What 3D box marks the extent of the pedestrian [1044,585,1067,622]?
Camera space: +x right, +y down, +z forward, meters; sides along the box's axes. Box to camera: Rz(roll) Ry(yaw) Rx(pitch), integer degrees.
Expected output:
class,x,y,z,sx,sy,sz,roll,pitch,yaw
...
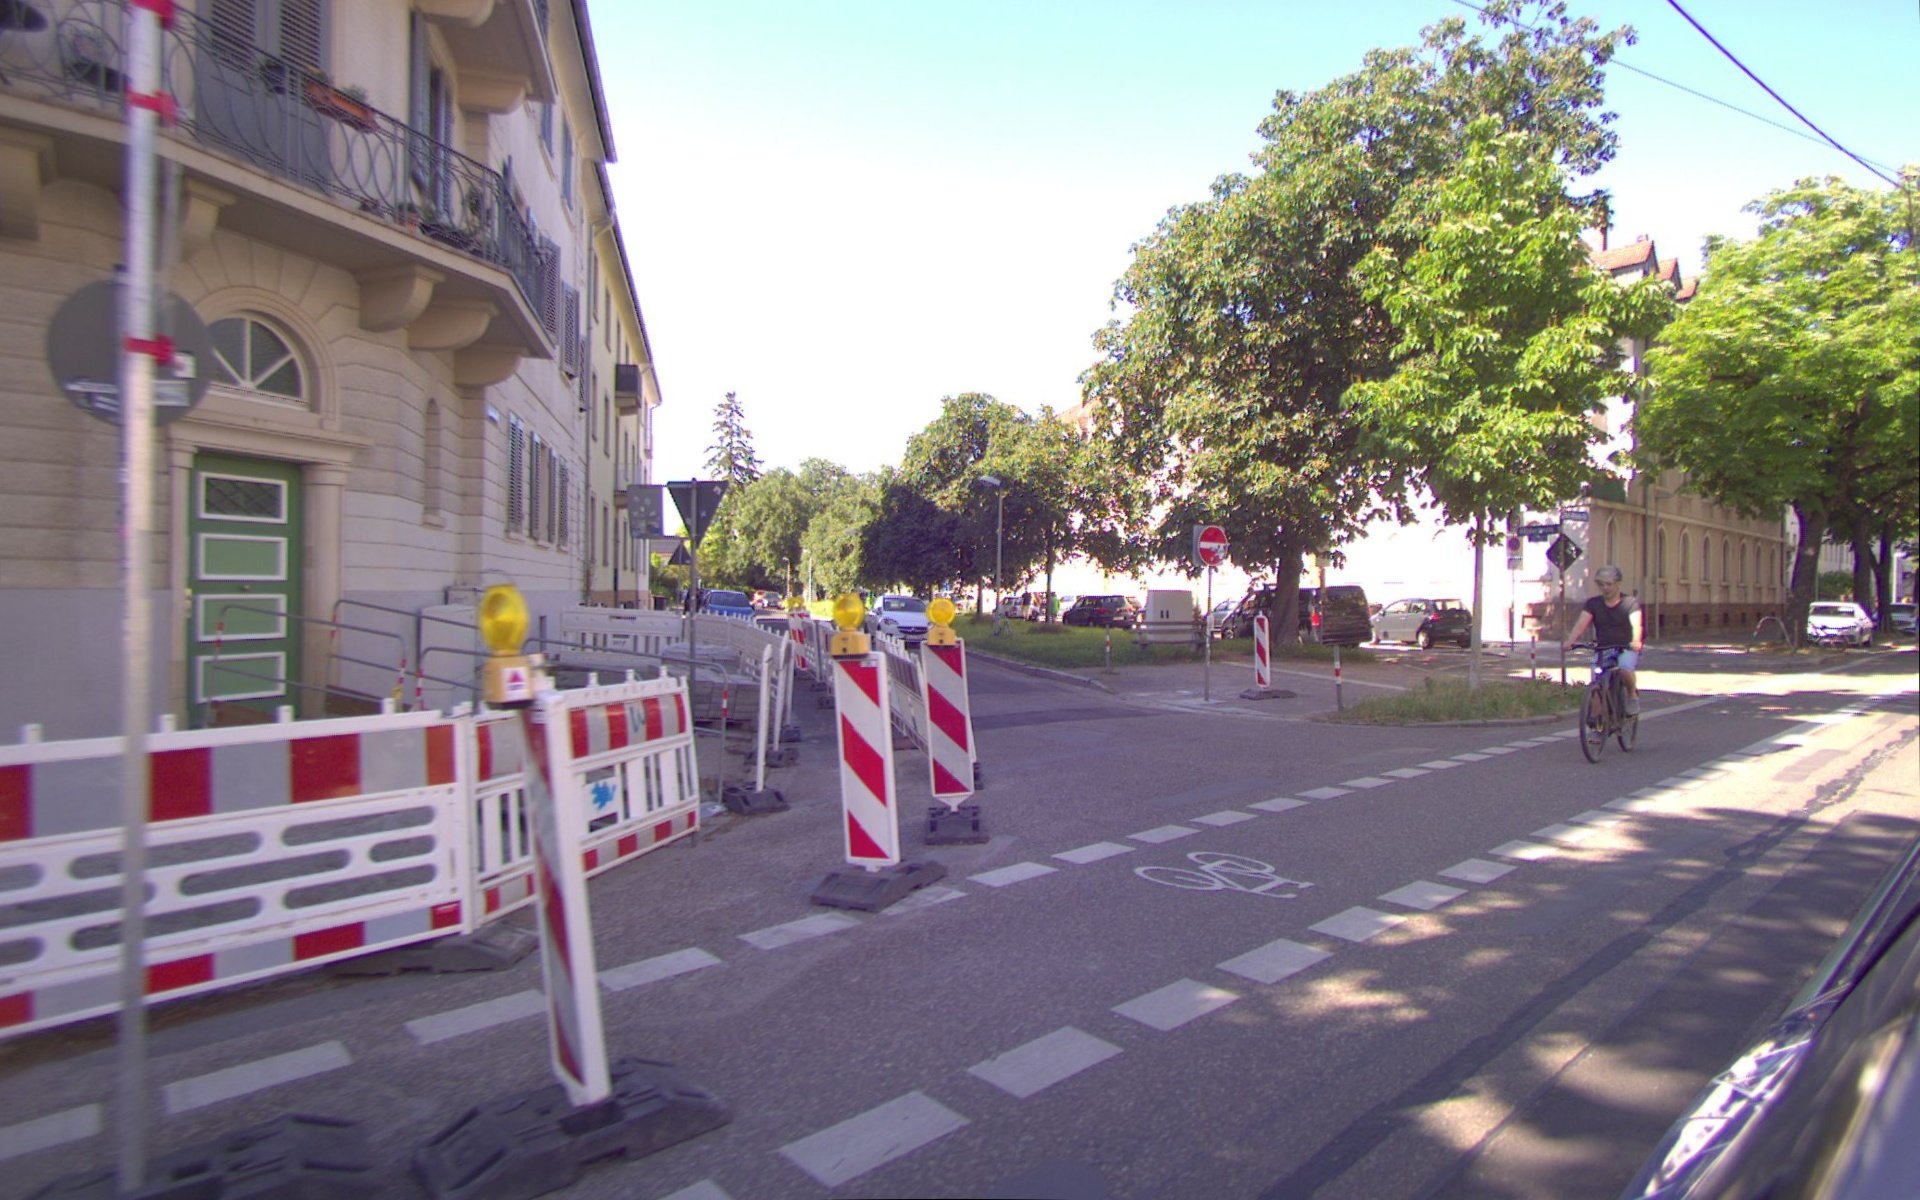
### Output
class,x,y,z,sx,sy,sz,roll,pitch,yaw
pedestrian,4.180,0.152,44.278,0.826,1.588,0.575,0,0,-17

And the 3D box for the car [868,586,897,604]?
class,x,y,z,sx,sy,sz,roll,pitch,yaw
car,-7.673,-0.480,99.532,1.958,1.650,5.077,-2,1,-15

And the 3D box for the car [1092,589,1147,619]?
class,x,y,z,sx,sy,sz,roll,pitch,yaw
car,8.471,0.175,54.043,1.605,1.519,3.777,-1,1,-13

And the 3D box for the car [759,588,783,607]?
class,x,y,z,sx,sy,sz,roll,pitch,yaw
car,-16.680,-0.212,89.190,1.749,1.505,3.981,3,0,-15

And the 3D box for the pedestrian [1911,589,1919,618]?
class,x,y,z,sx,sy,sz,roll,pitch,yaw
pedestrian,67.871,0.252,71.665,0.740,2.039,0.678,1,0,41

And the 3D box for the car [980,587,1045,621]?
class,x,y,z,sx,sy,sz,roll,pitch,yaw
car,2.749,0.158,54.271,1.958,1.650,5.077,-2,1,-15

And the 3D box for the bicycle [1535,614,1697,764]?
class,x,y,z,sx,sy,sz,roll,pitch,yaw
bicycle,6.284,0.775,9.650,2.059,1.258,0.762,0,-1,-41

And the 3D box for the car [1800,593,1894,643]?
class,x,y,z,sx,sy,sz,roll,pitch,yaw
car,28.897,0.537,32.932,4.140,1.490,1.704,0,2,-41

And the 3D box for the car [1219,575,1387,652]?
class,x,y,z,sx,sy,sz,roll,pitch,yaw
car,9.481,0.298,28.511,1.958,1.914,5.077,-2,1,-15

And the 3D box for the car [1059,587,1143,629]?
class,x,y,z,sx,sy,sz,roll,pitch,yaw
car,5.929,0.288,43.119,1.895,1.629,4.630,-2,1,-15

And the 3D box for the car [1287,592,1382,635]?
class,x,y,z,sx,sy,sz,roll,pitch,yaw
car,13.197,0.446,35.850,1.539,1.415,3.366,-1,1,-13

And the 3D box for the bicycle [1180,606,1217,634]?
class,x,y,z,sx,sy,sz,roll,pitch,yaw
bicycle,6.859,0.572,29.111,0.410,0.768,1.386,0,1,-16

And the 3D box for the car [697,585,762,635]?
class,x,y,z,sx,sy,sz,roll,pitch,yaw
car,-8.037,0.302,35.049,1.805,1.566,3.879,3,0,-17

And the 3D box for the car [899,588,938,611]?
class,x,y,z,sx,sy,sz,roll,pitch,yaw
car,-3.309,-0.090,78.877,1.958,1.650,5.077,-2,1,-15

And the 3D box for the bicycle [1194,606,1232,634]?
class,x,y,z,sx,sy,sz,roll,pitch,yaw
bicycle,7.290,0.567,29.187,0.410,0.787,1.386,0,1,-16

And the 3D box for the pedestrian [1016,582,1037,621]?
class,x,y,z,sx,sy,sz,roll,pitch,yaw
pedestrian,3.168,0.069,48.389,0.826,1.865,0.575,0,0,-17

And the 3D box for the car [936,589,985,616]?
class,x,y,z,sx,sy,sz,roll,pitch,yaw
car,-0.030,0.124,66.088,1.958,1.650,5.077,-2,1,-15

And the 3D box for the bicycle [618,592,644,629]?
class,x,y,z,sx,sy,sz,roll,pitch,yaw
bicycle,-11.355,0.316,34.982,0.750,1.171,4.009,0,1,-16

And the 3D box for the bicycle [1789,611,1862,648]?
class,x,y,z,sx,sy,sz,roll,pitch,yaw
bicycle,25.118,0.843,29.398,1.564,0.992,0.631,3,2,41

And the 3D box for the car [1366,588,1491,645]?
class,x,y,z,sx,sy,sz,roll,pitch,yaw
car,14.323,0.458,31.141,1.687,1.557,3.447,-3,1,-13

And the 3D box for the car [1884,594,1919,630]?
class,x,y,z,sx,sy,sz,roll,pitch,yaw
car,42.452,0.515,44.917,4.670,1.502,1.821,0,2,-44

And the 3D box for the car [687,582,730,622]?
class,x,y,z,sx,sy,sz,roll,pitch,yaw
car,-11.669,0.076,46.833,1.749,1.674,3.878,3,0,-15

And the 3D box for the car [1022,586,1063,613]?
class,x,y,z,sx,sy,sz,roll,pitch,yaw
car,5.448,-0.074,67.489,1.605,1.694,3.865,-1,1,-13

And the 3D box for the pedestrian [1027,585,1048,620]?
class,x,y,z,sx,sy,sz,roll,pitch,yaw
pedestrian,3.567,0.130,46.535,0.826,1.588,0.575,0,0,-17

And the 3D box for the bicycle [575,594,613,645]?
class,x,y,z,sx,sy,sz,roll,pitch,yaw
bicycle,-8.963,0.439,24.854,0.514,1.127,3.119,4,0,-14

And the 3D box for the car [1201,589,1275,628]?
class,x,y,z,sx,sy,sz,roll,pitch,yaw
car,11.461,0.314,41.940,1.408,1.519,3.509,-1,1,-13

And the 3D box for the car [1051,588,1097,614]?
class,x,y,z,sx,sy,sz,roll,pitch,yaw
car,6.785,0.036,60.685,1.605,1.519,3.644,-1,1,-13

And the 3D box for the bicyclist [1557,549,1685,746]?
class,x,y,z,sx,sy,sz,roll,pitch,yaw
bicyclist,6.348,0.426,9.714,1.028,1.761,0.762,0,-1,-41

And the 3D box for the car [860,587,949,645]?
class,x,y,z,sx,sy,sz,roll,pitch,yaw
car,-1.701,0.426,29.592,1.749,1.505,3.981,3,0,-15

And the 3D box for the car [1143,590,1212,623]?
class,x,y,z,sx,sy,sz,roll,pitch,yaw
car,10.186,0.268,47.584,1.605,1.434,3.971,-1,1,-13
